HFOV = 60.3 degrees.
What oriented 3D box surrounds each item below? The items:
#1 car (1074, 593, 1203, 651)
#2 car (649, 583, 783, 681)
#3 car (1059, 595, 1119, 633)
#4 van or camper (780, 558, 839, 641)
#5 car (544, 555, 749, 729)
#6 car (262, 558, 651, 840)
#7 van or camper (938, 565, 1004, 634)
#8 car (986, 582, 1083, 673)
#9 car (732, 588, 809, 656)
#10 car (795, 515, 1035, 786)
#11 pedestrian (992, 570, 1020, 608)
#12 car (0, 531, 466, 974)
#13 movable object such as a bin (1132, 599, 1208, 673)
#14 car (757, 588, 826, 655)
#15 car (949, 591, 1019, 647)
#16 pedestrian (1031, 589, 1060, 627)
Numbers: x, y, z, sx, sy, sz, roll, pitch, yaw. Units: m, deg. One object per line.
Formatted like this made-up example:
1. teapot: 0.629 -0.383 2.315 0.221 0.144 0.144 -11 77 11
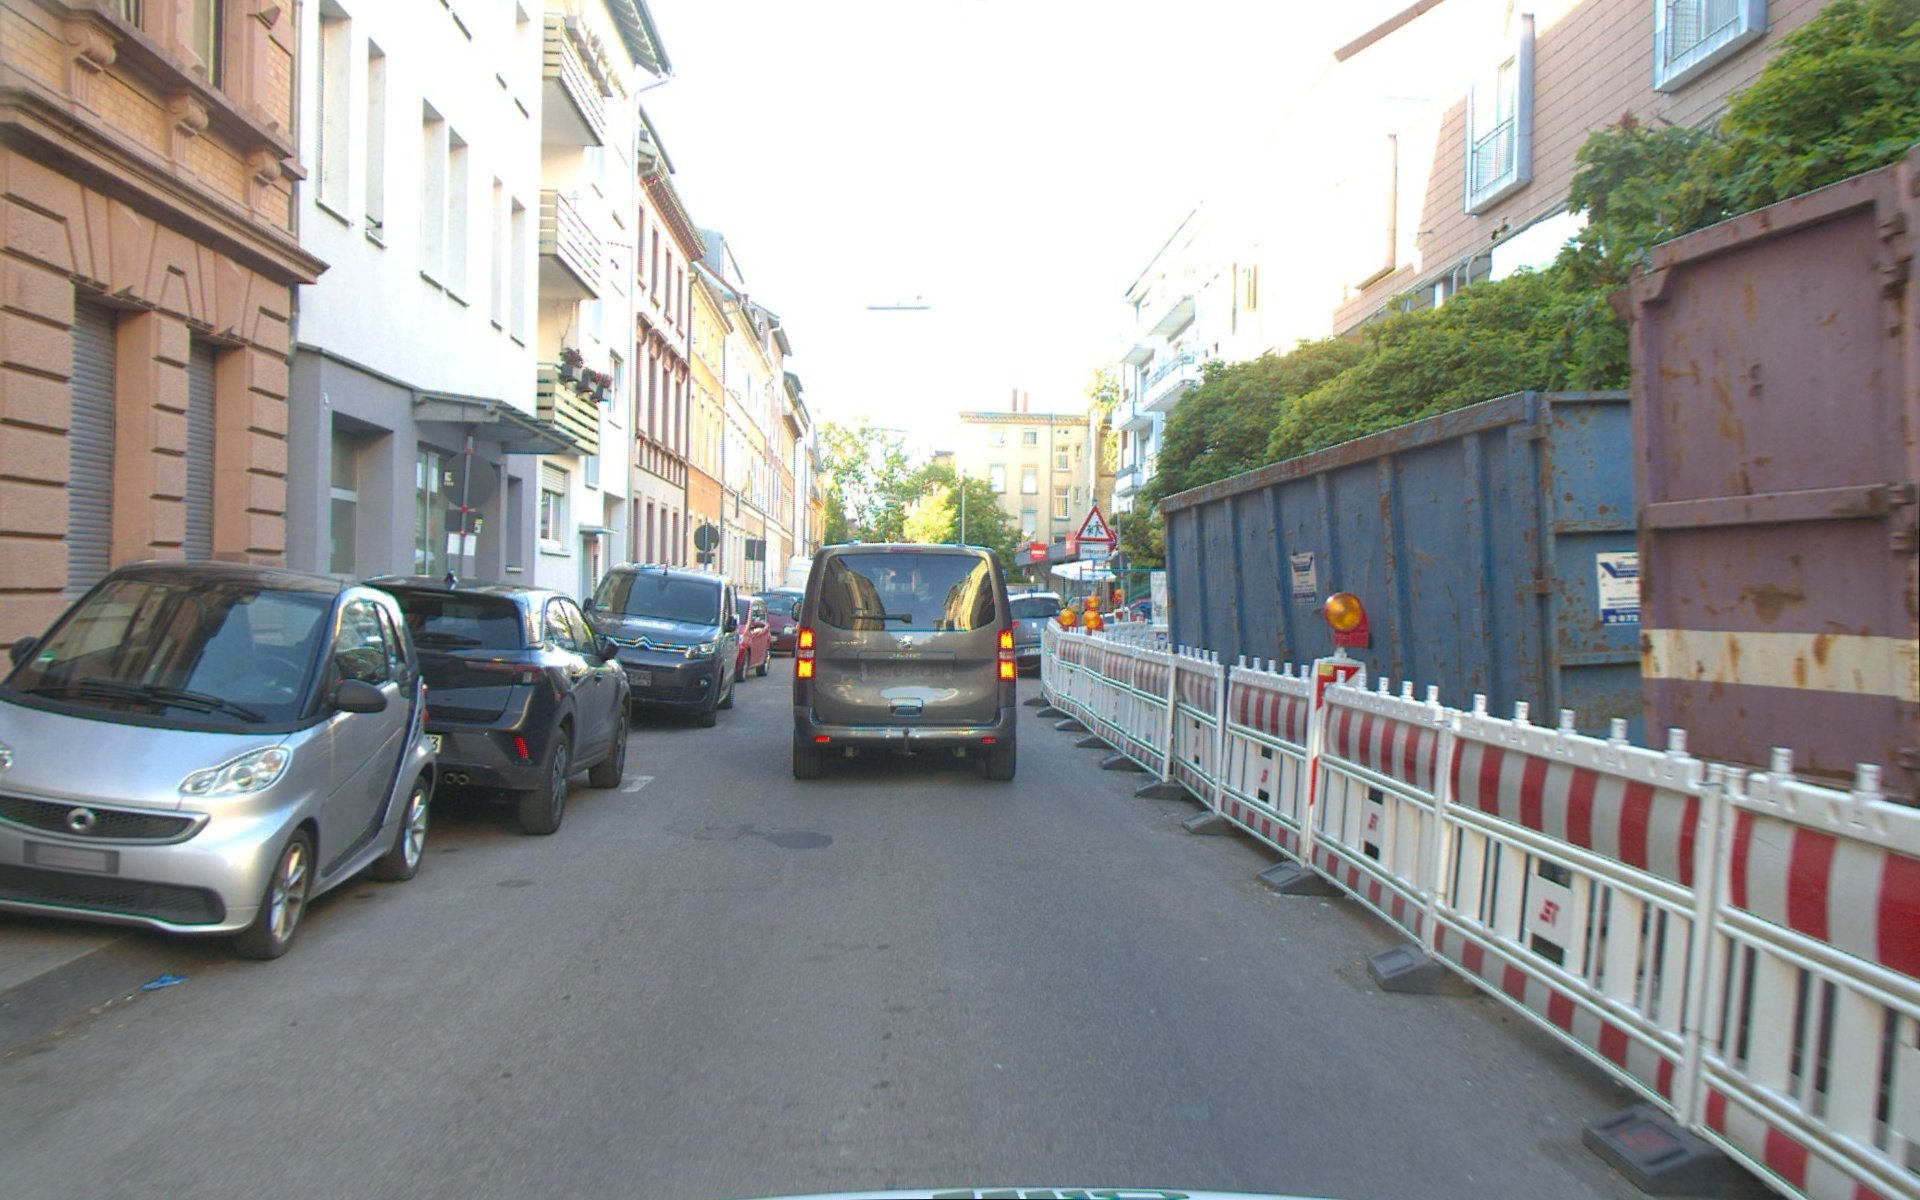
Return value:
1. car: 5.678 0.694 52.774 3.819 1.635 1.693 3 0 -4
2. car: -4.382 0.544 30.176 1.635 1.511 3.606 6 0 2
3. car: 5.093 0.536 65.043 1.567 1.441 3.229 1 0 20
4. van or camper: -5.175 -0.036 57.150 1.911 2.696 7.134 0 0 -5
5. car: -3.791 0.460 20.784 1.954 1.891 4.581 2 0 -4
6. car: -3.343 0.578 11.784 1.706 1.627 4.012 2 0 -3
7. van or camper: 0.379 -0.029 67.757 2.058 2.647 7.505 0 0 -4
8. car: 1.490 0.520 34.439 1.713 1.712 4.525 2 0 -1
9. car: -4.624 0.516 40.707 1.625 1.473 3.283 5 0 -4
10. car: -0.457 0.367 14.644 1.821 2.049 3.997 -1 0 -4
11. pedestrian: 1.958 -0.473 70.111 0.859 1.583 0.869 -1 1 -25
12. car: -3.410 0.570 7.745 1.368 1.615 2.792 5 0 -3
13. movable object such as a bin: 4.180 0.720 32.968 1.236 1.400 0.794 3 0 -28
14. car: -4.625 0.559 45.753 1.678 1.673 3.976 4 0 -4
15. car: 0.704 0.558 51.656 1.689 1.640 4.583 1 0 -5
16. pedestrian: 3.968 0.373 76.833 0.925 1.750 1.049 0 0 -37
